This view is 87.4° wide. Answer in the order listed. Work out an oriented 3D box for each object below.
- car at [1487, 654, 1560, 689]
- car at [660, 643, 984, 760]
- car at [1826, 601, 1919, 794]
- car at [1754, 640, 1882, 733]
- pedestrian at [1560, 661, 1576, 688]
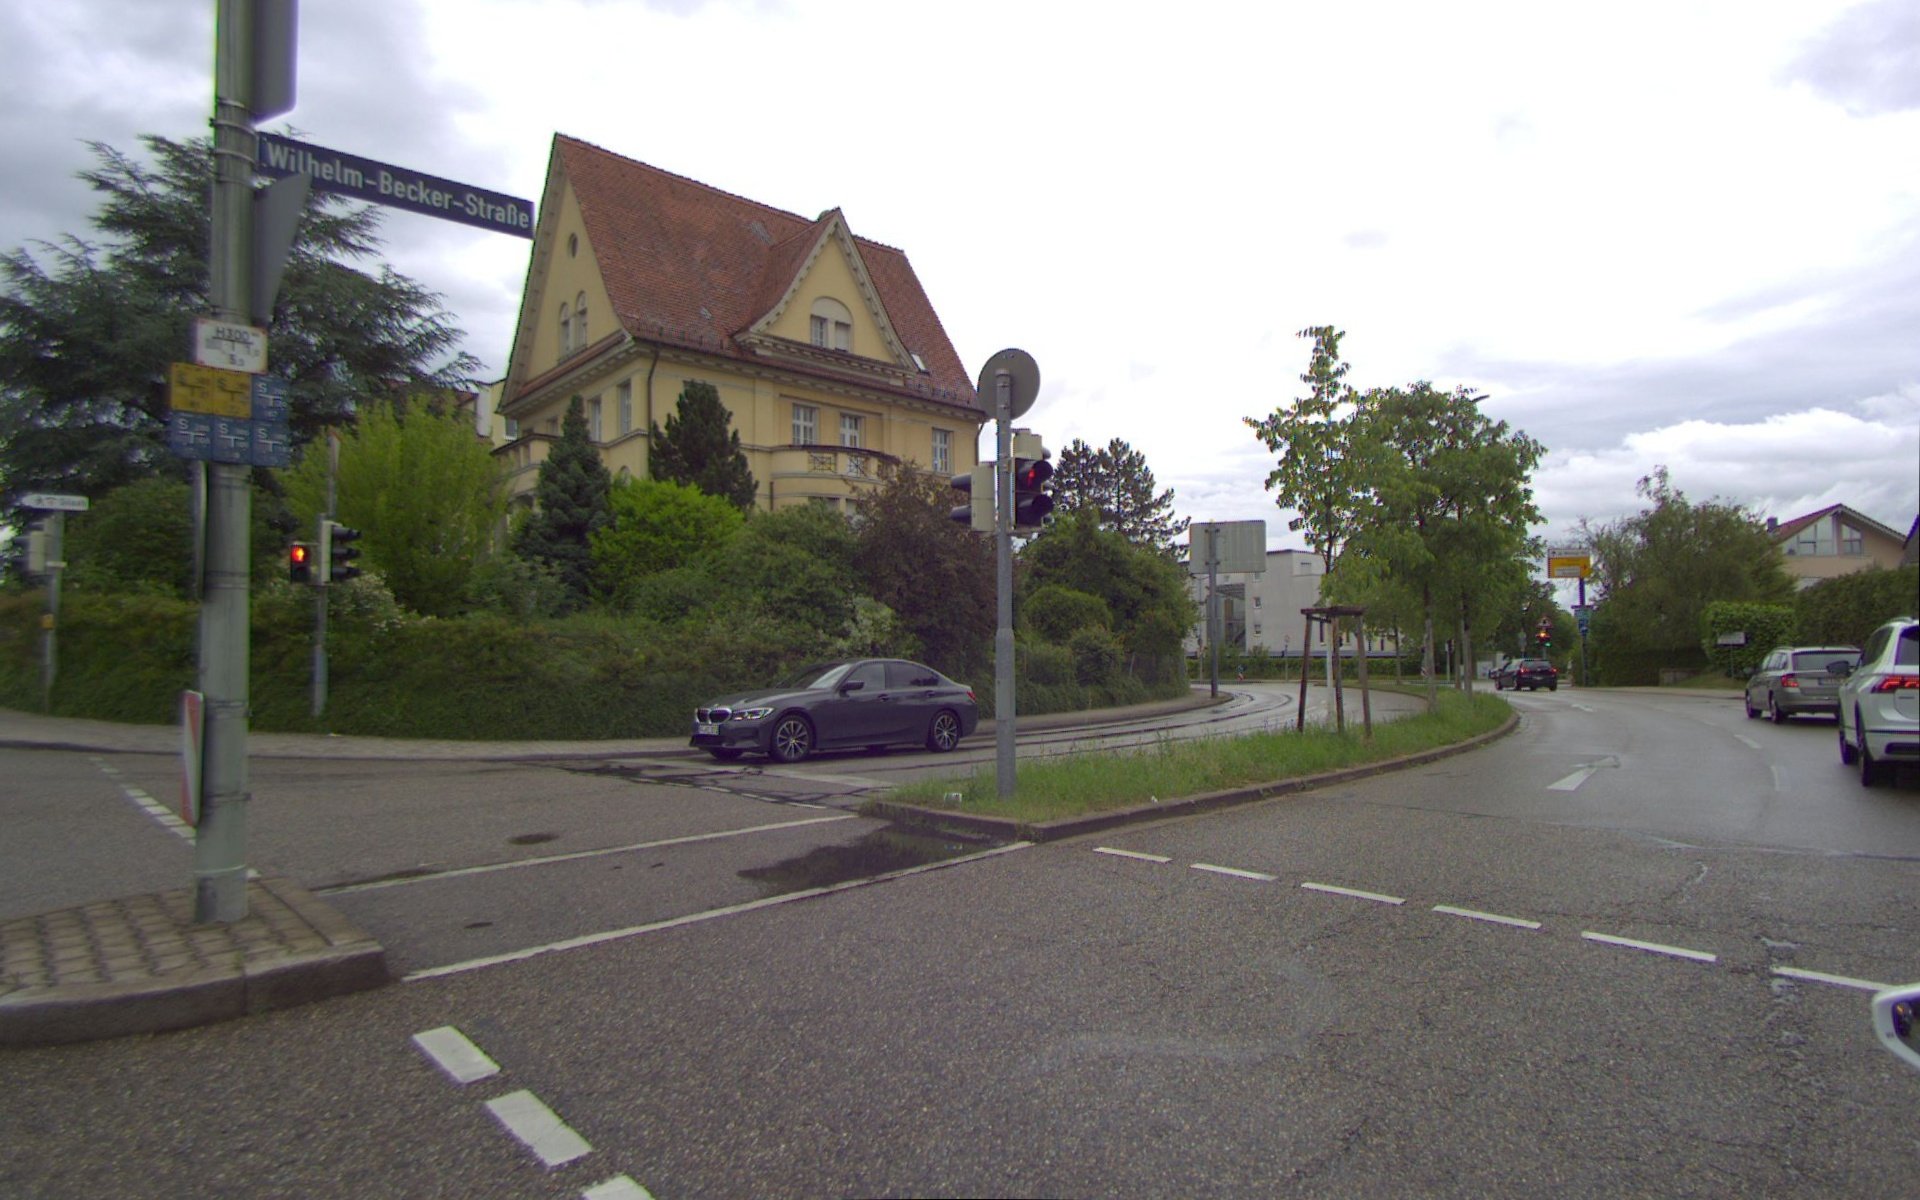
[{"bbox_3d":[26.618,3.367,47.547,1.819,1.447,4.004,2,-3,11],"label":"car"},{"bbox_3d":[-1.872,1.453,14.839,1.972,1.456,4.523,-3,-6,43],"label":"car"},{"bbox_3d":[10.375,0.964,10.453,1.898,1.745,4.246,-2,-4,39],"label":"car"},{"bbox_3d":[16.902,1.620,19.924,1.744,1.530,3.983,2,0,39],"label":"car"},{"bbox_3d":[47.353,5.770,78.226,0.786,2.040,0.850,0,-2,2],"label":"pedestrian"}]
